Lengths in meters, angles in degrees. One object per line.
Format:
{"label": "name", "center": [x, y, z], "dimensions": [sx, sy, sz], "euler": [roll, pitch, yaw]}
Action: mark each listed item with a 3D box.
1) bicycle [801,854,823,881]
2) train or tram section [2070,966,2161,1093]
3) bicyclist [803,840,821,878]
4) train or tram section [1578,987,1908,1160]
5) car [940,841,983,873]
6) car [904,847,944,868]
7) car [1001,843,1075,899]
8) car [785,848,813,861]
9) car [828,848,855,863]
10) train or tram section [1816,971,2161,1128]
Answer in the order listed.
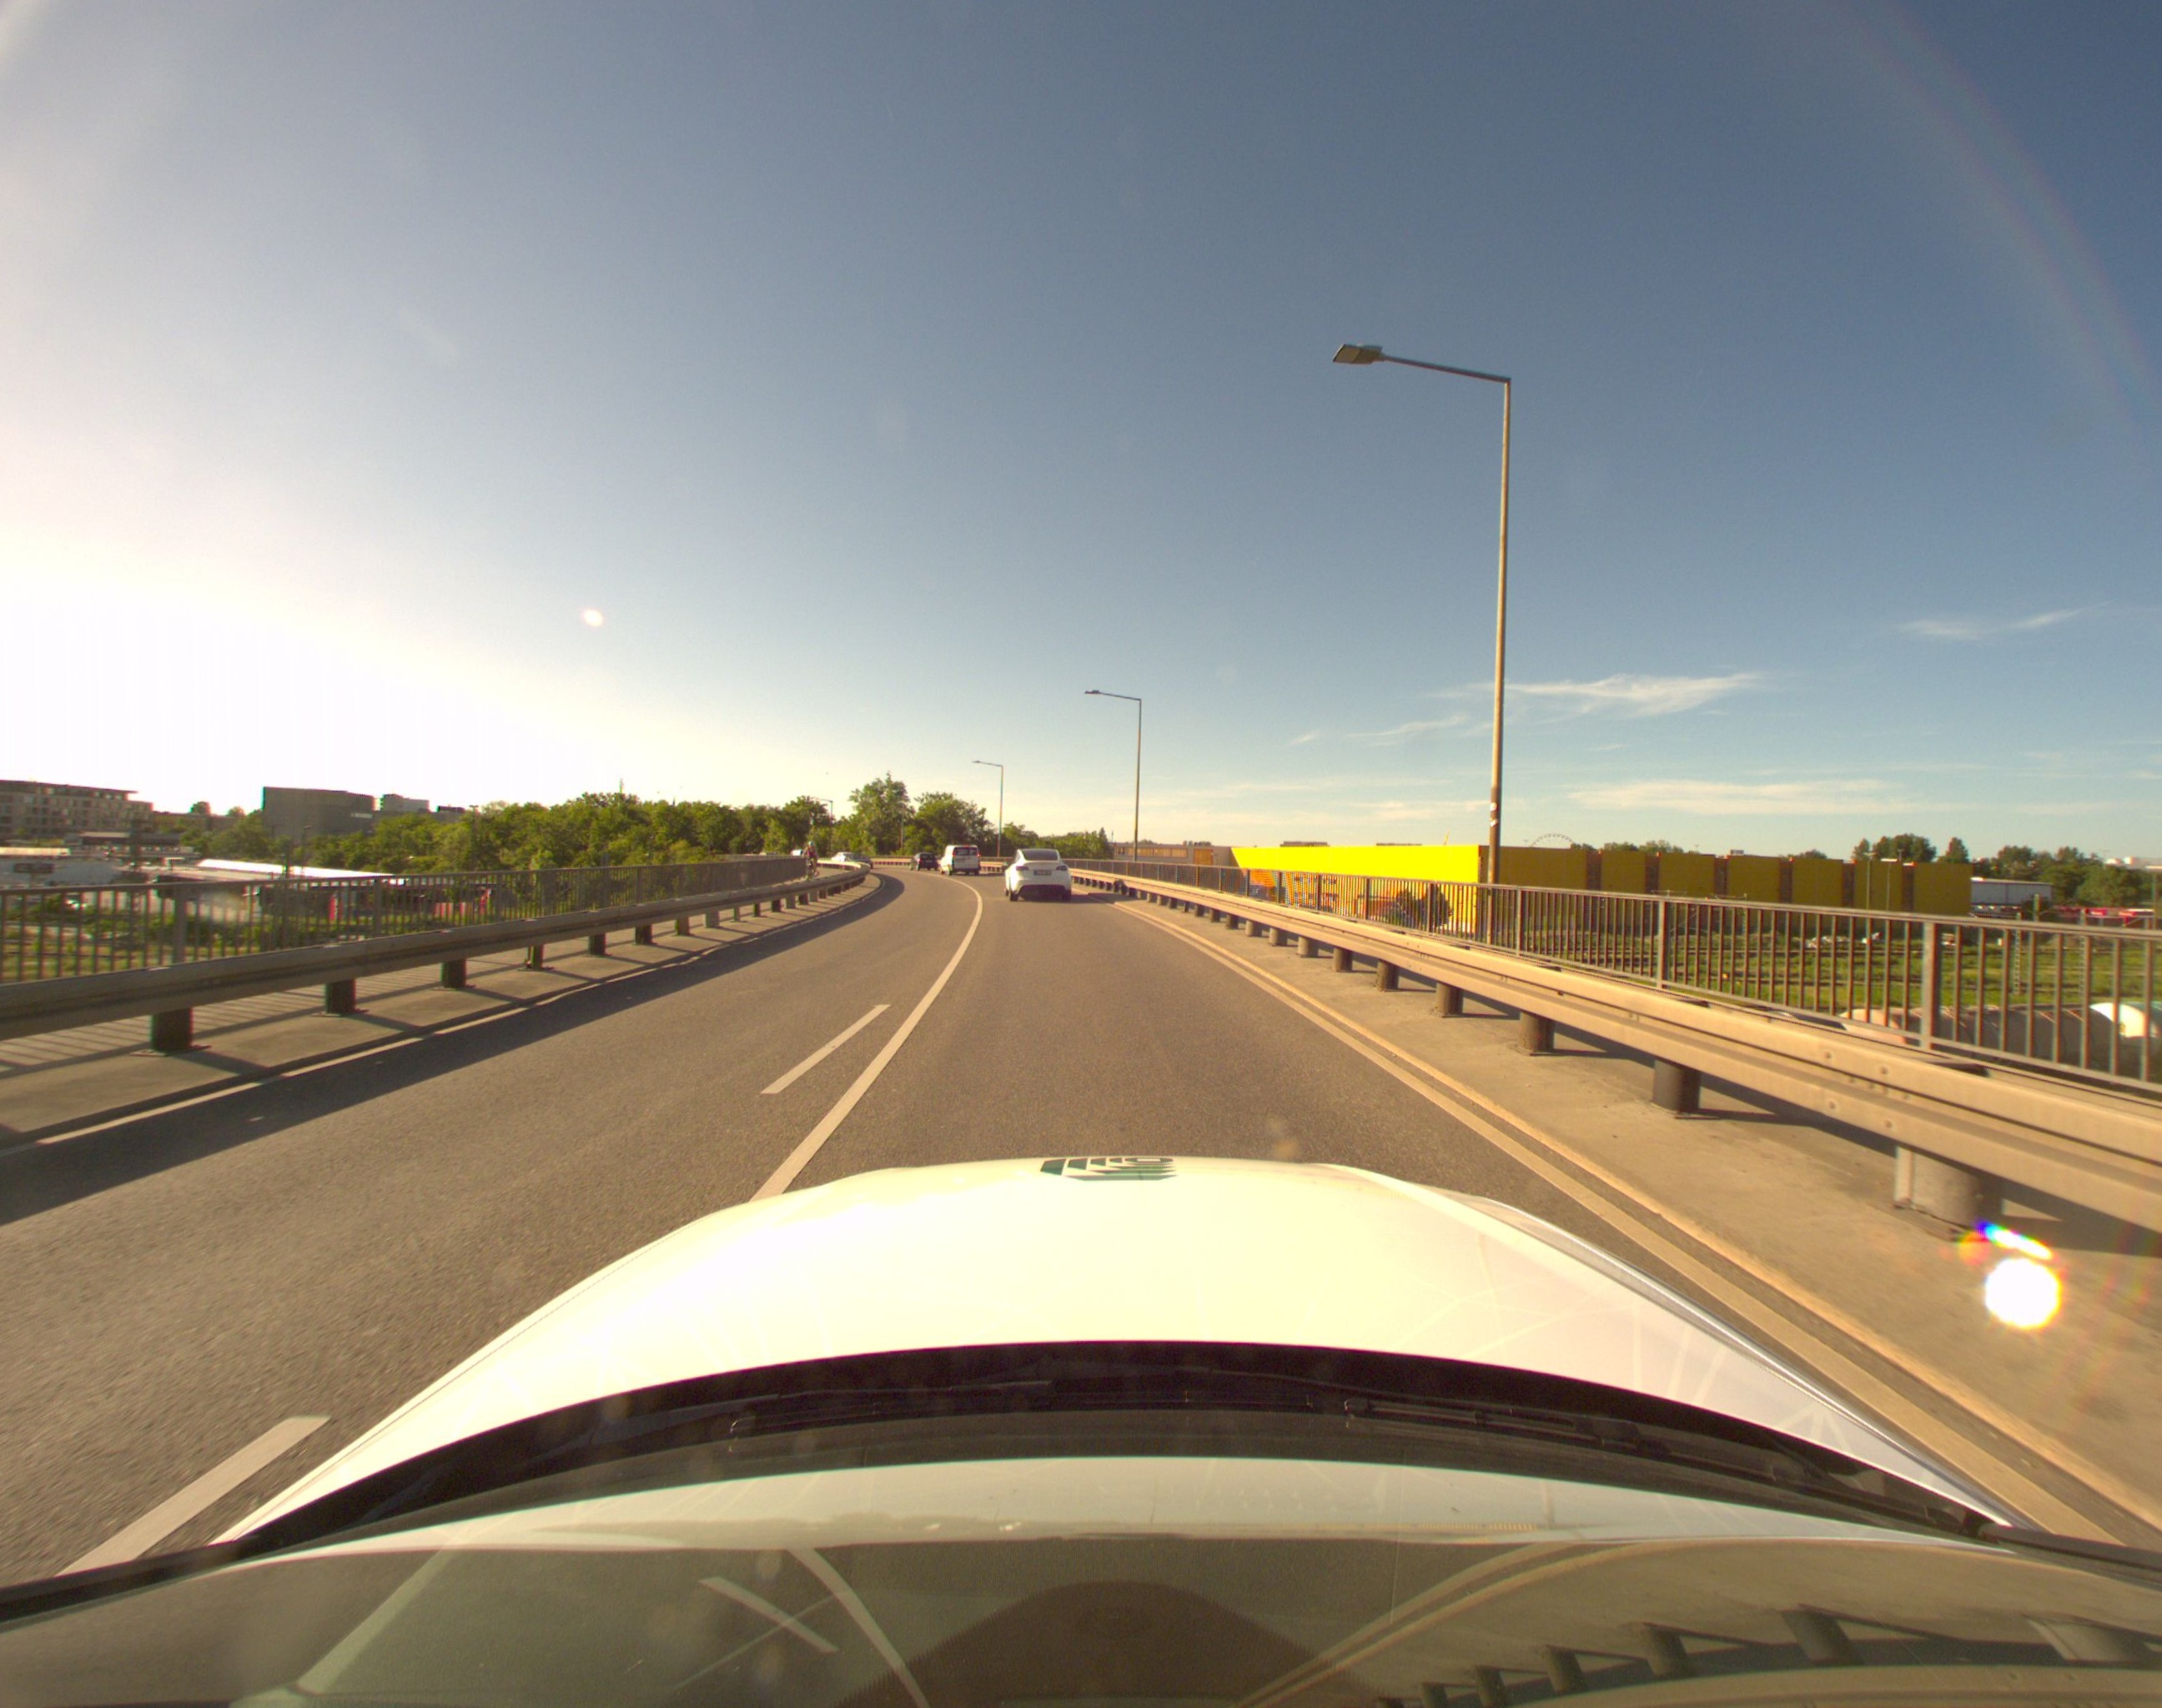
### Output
{"label": "bicycle", "center": [-11.185, 0.547, 33.904], "dimensions": [0.654, 1.065, 1.882], "euler": [0, 0, -13]}
{"label": "train or tram section", "center": [57.176, 8.404, 40.908], "dimensions": [15.149, 5.183, 3.321], "euler": [0, 0, -14]}
{"label": "bicyclist", "center": [-11.177, 0.205, 33.860], "dimensions": [0.654, 1.589, 0.765], "euler": [0, 0, -13]}
{"label": "train or tram section", "center": [27.132, 8.658, 33.369], "dimensions": [13.058, 5.264, 3.321], "euler": [0, 0, -14]}
{"label": "car", "center": [-7.614, 0.156, 51.530], "dimensions": [2.011, 1.940, 4.440], "euler": [0, 0, -18]}
{"label": "car", "center": [-12.649, 0.273, 65.488], "dimensions": [1.980, 1.637, 3.963], "euler": [-1, 0, -29]}
{"label": "car", "center": [-1.469, 0.513, 26.374], "dimensions": [1.985, 1.638, 4.050], "euler": [-1, 0, -9]}
{"label": "car", "center": [-34.957, 0.090, 101.071], "dimensions": [1.852, 1.555, 3.846], "euler": [-1, 0, -44]}
{"label": "car", "center": [-26.226, 0.113, 89.113], "dimensions": [1.872, 1.585, 3.874], "euler": [-1, 0, -33]}
{"label": "train or tram section", "center": [41.635, 8.535, 37.049], "dimensions": [16.847, 5.261, 3.321], "euler": [0, 0, -14]}
